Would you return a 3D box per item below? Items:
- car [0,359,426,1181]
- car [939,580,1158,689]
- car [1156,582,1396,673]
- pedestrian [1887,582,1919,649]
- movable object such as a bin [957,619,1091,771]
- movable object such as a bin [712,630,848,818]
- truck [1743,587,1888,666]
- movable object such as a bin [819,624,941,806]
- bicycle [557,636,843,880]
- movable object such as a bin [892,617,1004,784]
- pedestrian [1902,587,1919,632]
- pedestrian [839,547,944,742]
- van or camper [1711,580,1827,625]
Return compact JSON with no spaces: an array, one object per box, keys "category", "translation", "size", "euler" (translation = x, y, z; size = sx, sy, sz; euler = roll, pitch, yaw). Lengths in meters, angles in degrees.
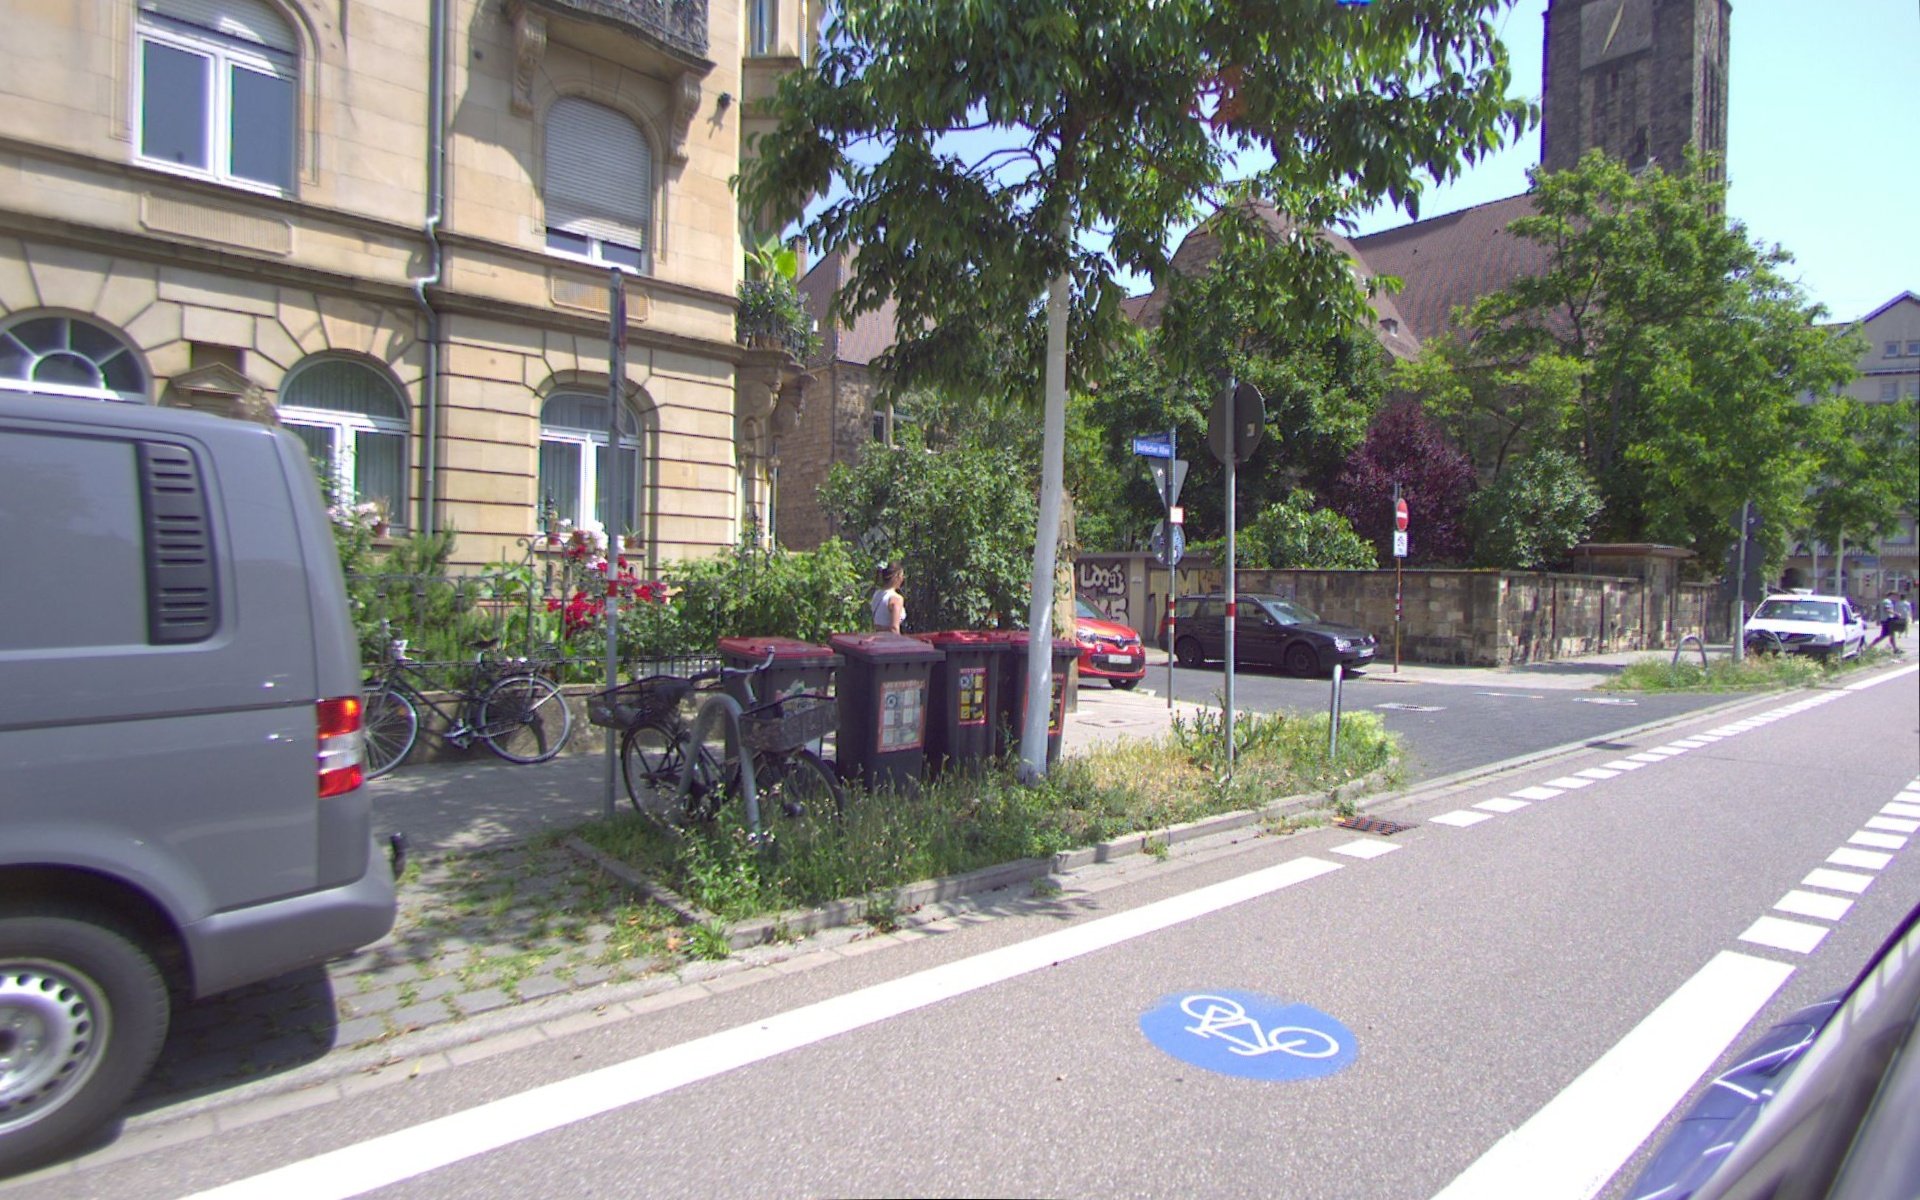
[{"category":"car","translation":[-4.007,0.374,2.185],"size":[4.751,1.971,1.883],"euler":[0,2,-40]},{"category":"car","translation":[1.312,0.457,16.111],"size":[1.526,1.510,3.461],"euler":[0,1,-38]},{"category":"car","translation":[6.002,0.447,19.622],"size":[1.645,1.510,4.188],"euler":[0,2,-42]},{"category":"pedestrian","translation":[25.524,0.396,27.331],"size":[0.666,1.777,0.622],"euler":[0,0,-39]},{"category":"movable object such as a bin","translation":[0.465,0.666,7.509],"size":[0.637,1.026,0.790],"euler":[0,0,-34]},{"category":"movable object such as a bin","translation":[-1.081,0.710,6.098],"size":[0.594,1.024,0.557],"euler":[1,0,40]},{"category":"truck","translation":[18.863,0.503,22.255],"size":[4.387,1.545,1.793],"euler":[0,1,-41]},{"category":"movable object such as a bin","translation":[-0.530,0.710,6.594],"size":[0.486,1.075,0.749],"euler":[0,0,-34]},{"category":"bicycle","translation":[-1.425,0.732,5.304],"size":[1.879,1.004,0.463],"euler":[1,0,41]},{"category":"movable object such as a bin","translation":[-0.091,0.668,7.074],"size":[0.486,1.075,0.672],"euler":[0,0,-34]},{"category":"pedestrian","translation":[36.506,0.351,38.543],"size":[0.949,1.671,0.796],"euler":[0,0,-39]},{"category":"pedestrian","translation":[-0.599,0.363,8.839],"size":[0.714,1.618,0.553],"euler":[0,0,-38]},{"category":"van or camper","translation":[38.391,0.081,48.105],"size":[1.771,1.848,3.995],"euler":[3,1,-41]}]
